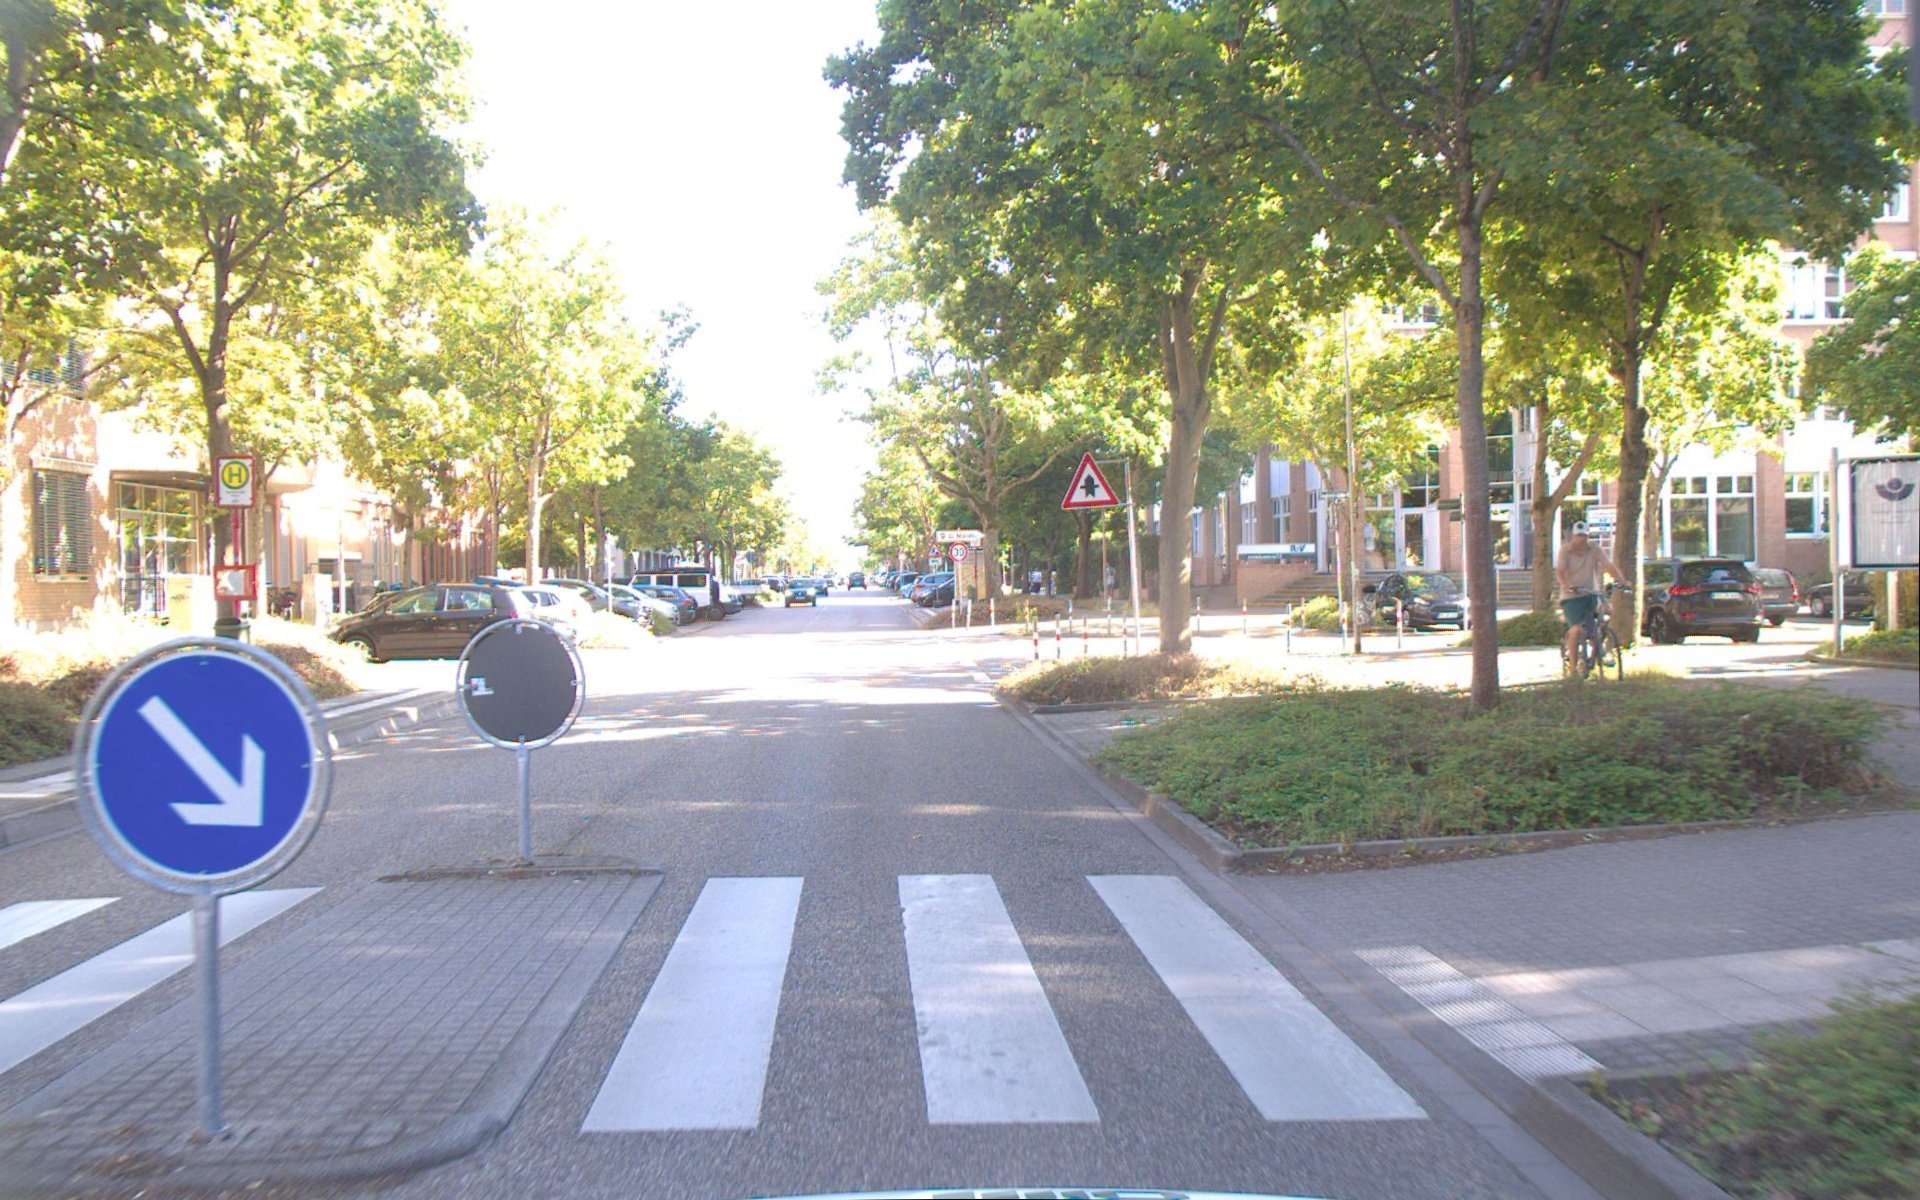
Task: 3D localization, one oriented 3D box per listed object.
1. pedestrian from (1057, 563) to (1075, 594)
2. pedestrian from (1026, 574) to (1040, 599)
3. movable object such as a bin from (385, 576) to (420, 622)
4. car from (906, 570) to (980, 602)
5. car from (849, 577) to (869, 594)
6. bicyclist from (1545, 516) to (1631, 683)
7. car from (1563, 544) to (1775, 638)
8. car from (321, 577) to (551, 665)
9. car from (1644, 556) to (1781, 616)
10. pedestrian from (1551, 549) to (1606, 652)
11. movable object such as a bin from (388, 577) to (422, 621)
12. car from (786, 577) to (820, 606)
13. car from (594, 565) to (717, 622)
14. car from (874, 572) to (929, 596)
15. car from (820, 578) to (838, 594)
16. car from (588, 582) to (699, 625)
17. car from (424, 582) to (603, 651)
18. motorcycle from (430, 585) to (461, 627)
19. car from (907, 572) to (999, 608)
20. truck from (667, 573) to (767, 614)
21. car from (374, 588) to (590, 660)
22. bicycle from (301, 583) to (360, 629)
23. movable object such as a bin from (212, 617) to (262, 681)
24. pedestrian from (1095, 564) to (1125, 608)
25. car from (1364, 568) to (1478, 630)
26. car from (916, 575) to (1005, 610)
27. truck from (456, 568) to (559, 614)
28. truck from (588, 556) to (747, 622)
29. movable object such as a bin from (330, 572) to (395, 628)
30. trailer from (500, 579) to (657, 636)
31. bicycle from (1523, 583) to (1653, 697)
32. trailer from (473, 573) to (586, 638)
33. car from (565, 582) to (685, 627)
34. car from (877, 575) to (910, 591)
[{"bbox_3d":[6.103,-1.241,95.207,0.684,1.740,0.917,-5,2,-15],"label":"pedestrian"},{"bbox_3d":[4.294,-0.789,97.335,0.687,1.483,0.714,-2,1,-6],"label":"pedestrian"},{"bbox_3d":[-20.514,-0.060,60.871,1.126,1.648,1.436,-1,1,-16],"label":"movable object such as a bin"},{"bbox_3d":[-1.063,-0.886,101.285,4.320,1.646,1.910,-4,1,-5],"label":"car"},{"bbox_3d":[-10.316,-1.458,168.899,1.895,1.625,4.363,-2,1,-4],"label":"car"},{"bbox_3d":[6.481,-0.012,17.100,0.526,1.665,0.822,-1,1,-3],"label":"bicyclist"},{"bbox_3d":[13.037,-0.114,30.721,1.704,1.593,4.360,-1,-1,-6],"label":"car"},{"bbox_3d":[-10.093,0.394,32.081,3.908,1.598,1.727,1,0,-4],"label":"car"},{"bbox_3d":[19.906,-0.383,43.960,1.654,1.486,4.272,-1,1,0],"label":"car"},{"bbox_3d":[9.857,0.008,26.370,0.528,1.610,0.646,-1,1,-13],"label":"pedestrian"},{"bbox_3d":[-20.847,-0.047,62.140,1.126,1.590,1.239,-1,1,-16],"label":"movable object such as a bin"},{"bbox_3d":[-8.662,-0.498,91.447,1.744,1.538,3.997,-1,1,-4],"label":"car"},{"bbox_3d":[-11.428,-0.246,62.383,4.395,2.087,1.998,0,0,-6],"label":"car"},{"bbox_3d":[-4.665,-1.267,131.149,4.186,1.662,1.856,-2,1,-6],"label":"car"},{"bbox_3d":[-14.387,-1.524,182.092,1.855,1.713,4.348,-2,1,-6],"label":"car"},{"bbox_3d":[-11.372,0.115,59.587,3.702,1.518,1.832,0,1,-3],"label":"car"},{"bbox_3d":[-10.173,0.365,37.893,3.680,1.477,1.753,1,1,-4],"label":"car"},{"bbox_3d":[-20.524,0.209,65.970,0.700,1.619,2.107,-2,1,-5],"label":"motorcycle"},{"bbox_3d":[-0.374,-0.485,82.533,4.273,1.625,1.935,-2,1,-10],"label":"car"},{"bbox_3d":[-12.747,-0.361,86.900,4.883,1.993,2.138,-2,1,0],"label":"truck"},{"bbox_3d":[-9.965,0.497,34.725,4.071,1.427,1.799,1,1,-6],"label":"car"},{"bbox_3d":[-19.834,0.197,52.104,1.703,1.433,0.609,0,0,-27],"label":"bicycle"},{"bbox_3d":[-8.677,0.585,19.848,0.433,0.744,0.408,0,0,-4],"label":"movable object such as a bin"},{"bbox_3d":[6.171,-0.571,68.002,0.903,1.740,0.695,-5,2,-17],"label":"pedestrian"},{"bbox_3d":[11.870,-0.058,42.818,1.619,1.488,3.915,-1,1,-4],"label":"car"},{"bbox_3d":[0.008,-0.363,75.523,3.859,1.464,1.772,-2,1,-6],"label":"car"},{"bbox_3d":[-29.390,-0.601,107.532,5.986,2.751,2.575,-2,1,-6],"label":"truck"},{"bbox_3d":[-11.898,-0.444,67.616,6.108,2.464,2.186,-2,1,-3],"label":"truck"},{"bbox_3d":[-20.182,-0.016,55.943,1.566,1.827,1.664,-1,1,-2],"label":"movable object such as a bin"},{"bbox_3d":[-10.847,0.209,47.252,4.179,1.599,1.853,0,1,-7],"label":"trailer"},{"bbox_3d":[6.483,0.377,17.175,0.523,1.097,1.919,-1,1,-3],"label":"bicycle"},{"bbox_3d":[-11.640,0.146,44.836,2.671,1.717,1.711,0,1,-3],"label":"trailer"},{"bbox_3d":[-11.473,0.142,56.755,3.756,1.486,1.732,0,1,-1],"label":"car"},{"bbox_3d":[-8.146,-2.067,202.571,3.913,1.823,1.996,-1,1,-9],"label":"car"}]
